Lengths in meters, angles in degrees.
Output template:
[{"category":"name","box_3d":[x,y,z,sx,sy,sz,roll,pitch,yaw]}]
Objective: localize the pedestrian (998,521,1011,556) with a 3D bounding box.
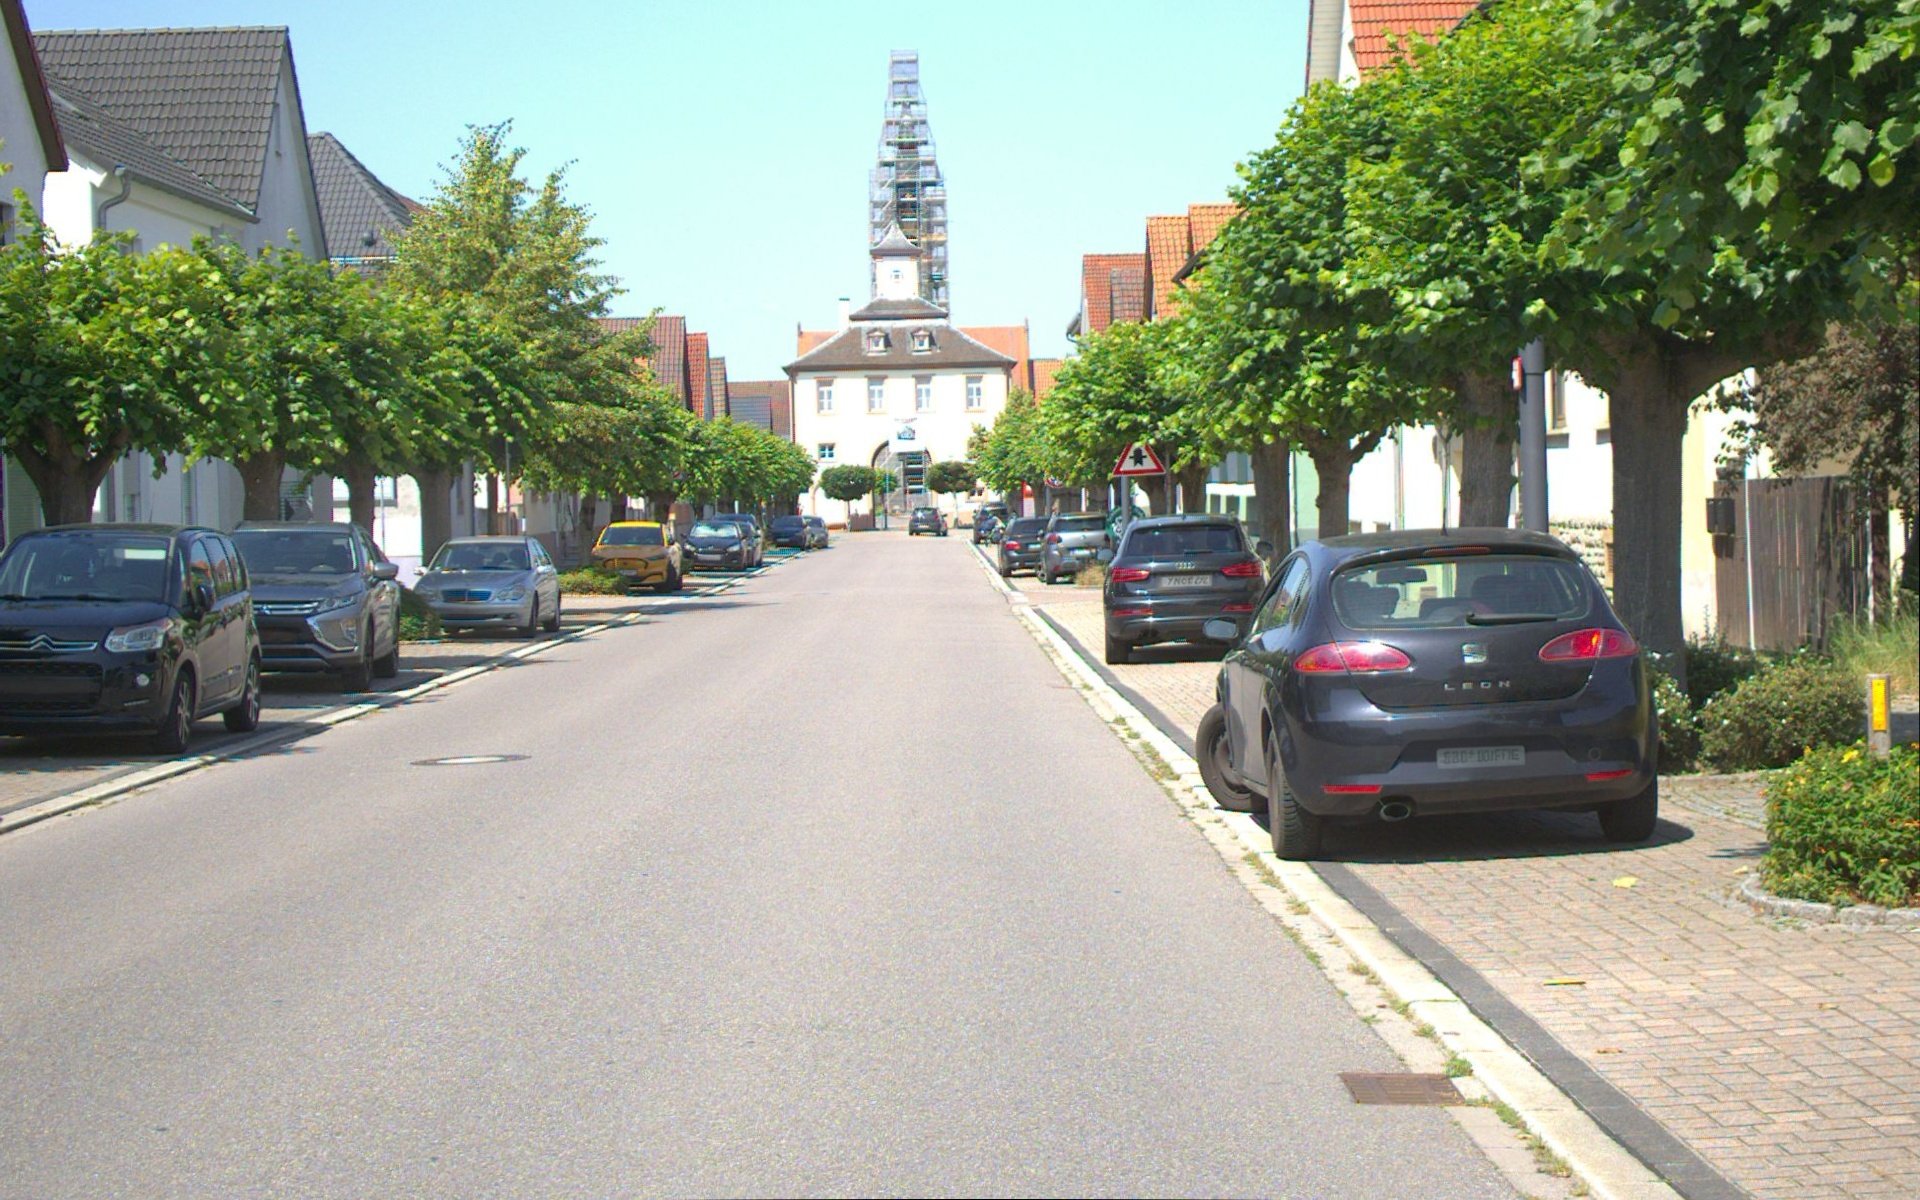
[{"category":"pedestrian","box_3d":[1.760,-2.432,135.749,0.358,1.398,0.319,0,2,37]}]

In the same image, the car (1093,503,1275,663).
[{"category":"car","box_3d":[2.460,-0.231,37.938,1.824,1.580,4.057,-2,2,4]}]

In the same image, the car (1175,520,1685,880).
[{"category":"car","box_3d":[2.144,0.381,16.767,1.824,1.427,4.057,-3,2,0]}]

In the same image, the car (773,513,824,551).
[{"category":"car","box_3d":[-6.996,-2.944,148.972,1.993,1.606,3.855,0,1,1]}]

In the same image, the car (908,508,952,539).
[{"category":"car","box_3d":[-1.537,-3.960,177.619,1.730,1.542,3.454,1,1,8]}]

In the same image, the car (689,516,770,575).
[{"category":"car","box_3d":[-6.694,-1.610,100.305,1.993,1.606,4.689,0,2,1]}]

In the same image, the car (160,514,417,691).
[{"category":"car","box_3d":[-6.668,-0.029,34.582,1.993,1.647,4.368,1,1,-4]}]

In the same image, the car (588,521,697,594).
[{"category":"car","box_3d":[-7.223,-0.993,78.594,1.993,1.606,4.689,0,1,1]}]

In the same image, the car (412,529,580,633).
[{"category":"car","box_3d":[-6.540,-0.306,48.844,1.840,1.391,4.407,0,1,-1]}]

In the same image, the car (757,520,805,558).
[{"category":"car","box_3d":[-7.457,-2.556,143.236,1.757,1.550,4.020,-1,1,0]}]

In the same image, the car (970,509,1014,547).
[{"category":"car","box_3d":[1.378,-3.123,149.062,1.837,1.550,4.314,-3,1,0]}]

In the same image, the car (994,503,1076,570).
[{"category":"car","box_3d":[1.845,-1.608,86.067,1.837,1.550,4.314,-3,1,-1]}]

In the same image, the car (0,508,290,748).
[{"category":"car","box_3d":[-6.289,0.158,25.534,1.853,1.629,4.057,1,1,-1]}]

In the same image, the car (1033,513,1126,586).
[{"category":"car","box_3d":[2.692,-1.177,78.309,1.837,1.602,4.001,-1,1,-2]}]
